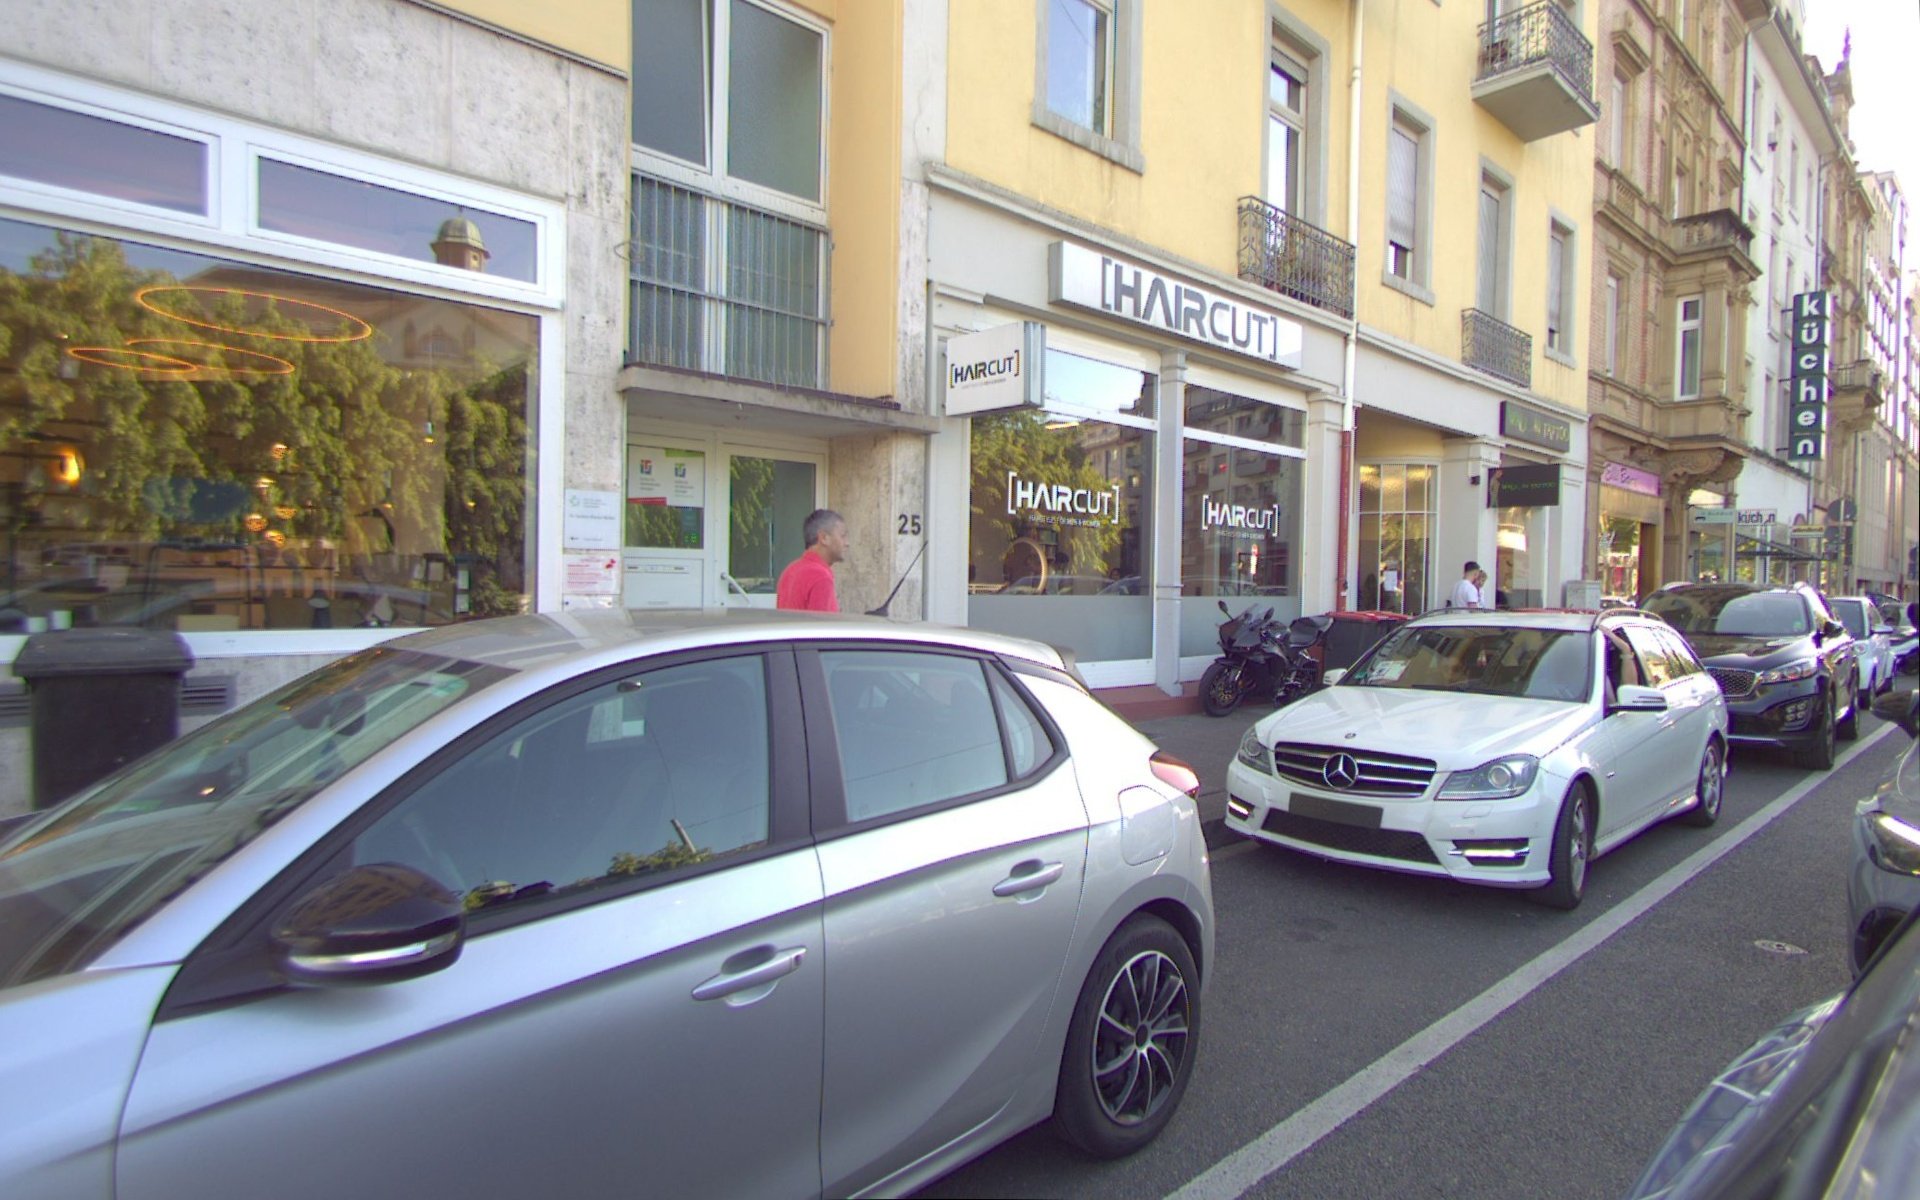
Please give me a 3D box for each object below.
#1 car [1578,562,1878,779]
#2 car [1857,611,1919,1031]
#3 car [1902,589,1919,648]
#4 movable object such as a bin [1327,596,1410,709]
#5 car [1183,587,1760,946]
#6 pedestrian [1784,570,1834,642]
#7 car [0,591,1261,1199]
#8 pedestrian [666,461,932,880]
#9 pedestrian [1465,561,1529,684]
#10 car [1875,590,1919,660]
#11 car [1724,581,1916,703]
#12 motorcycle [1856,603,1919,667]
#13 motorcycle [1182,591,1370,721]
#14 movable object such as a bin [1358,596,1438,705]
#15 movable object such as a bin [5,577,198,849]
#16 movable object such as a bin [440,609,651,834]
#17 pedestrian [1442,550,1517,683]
[{"bbox_3d":[8.001,0.532,10.348,1.853,1.719,4.623,1,1,45],"label":"car"},{"bbox_3d":[5.312,0.764,4.279,4.183,1.396,1.846,0,1,-42],"label":"car"},{"bbox_3d":[26.403,0.482,26.861,3.931,1.504,1.713,0,1,-42],"label":"car"},{"bbox_3d":[4.638,0.570,11.500,0.633,1.222,0.647,0,0,-40],"label":"movable object such as a bin"},{"bbox_3d":[3.477,0.677,6.397,4.519,1.480,1.757,0,1,-42],"label":"car"},{"bbox_3d":[19.882,0.125,23.704,0.750,1.637,0.794,0,1,-43],"label":"pedestrian"},{"bbox_3d":[-1.030,0.698,2.319,3.642,1.415,1.652,0,1,-42],"label":"car"},{"bbox_3d":[-0.811,0.281,4.967,0.989,1.805,0.868,0,3,-32],"label":"pedestrian"},{"bbox_3d":[7.383,0.296,13.914,0.631,1.637,0.572,0,0,-40],"label":"pedestrian"},{"bbox_3d":[22.247,0.543,23.023,3.931,1.504,1.713,0,1,-42],"label":"car"},{"bbox_3d":[12.656,0.530,14.855,2.965,1.587,1.695,0,1,-40],"label":"car"},{"bbox_3d":[19.290,0.708,20.518,1.514,1.248,0.771,1,0,1],"label":"motorcycle"},{"bbox_3d":[3.323,0.521,10.527,2.208,1.179,0.773,0,4,-41],"label":"motorcycle"},{"bbox_3d":[5.148,0.564,11.889,0.633,1.222,0.647,0,0,-40],"label":"movable object such as a bin"},{"bbox_3d":[-3.697,0.423,4.385,0.591,1.041,0.812,0,1,-40],"label":"movable object such as a bin"},{"bbox_3d":[-2.265,0.602,5.526,0.878,1.066,0.752,0,1,-40],"label":"movable object such as a bin"},{"bbox_3d":[6.649,0.197,12.958,0.689,1.637,0.641,0,0,-42],"label":"pedestrian"}]
